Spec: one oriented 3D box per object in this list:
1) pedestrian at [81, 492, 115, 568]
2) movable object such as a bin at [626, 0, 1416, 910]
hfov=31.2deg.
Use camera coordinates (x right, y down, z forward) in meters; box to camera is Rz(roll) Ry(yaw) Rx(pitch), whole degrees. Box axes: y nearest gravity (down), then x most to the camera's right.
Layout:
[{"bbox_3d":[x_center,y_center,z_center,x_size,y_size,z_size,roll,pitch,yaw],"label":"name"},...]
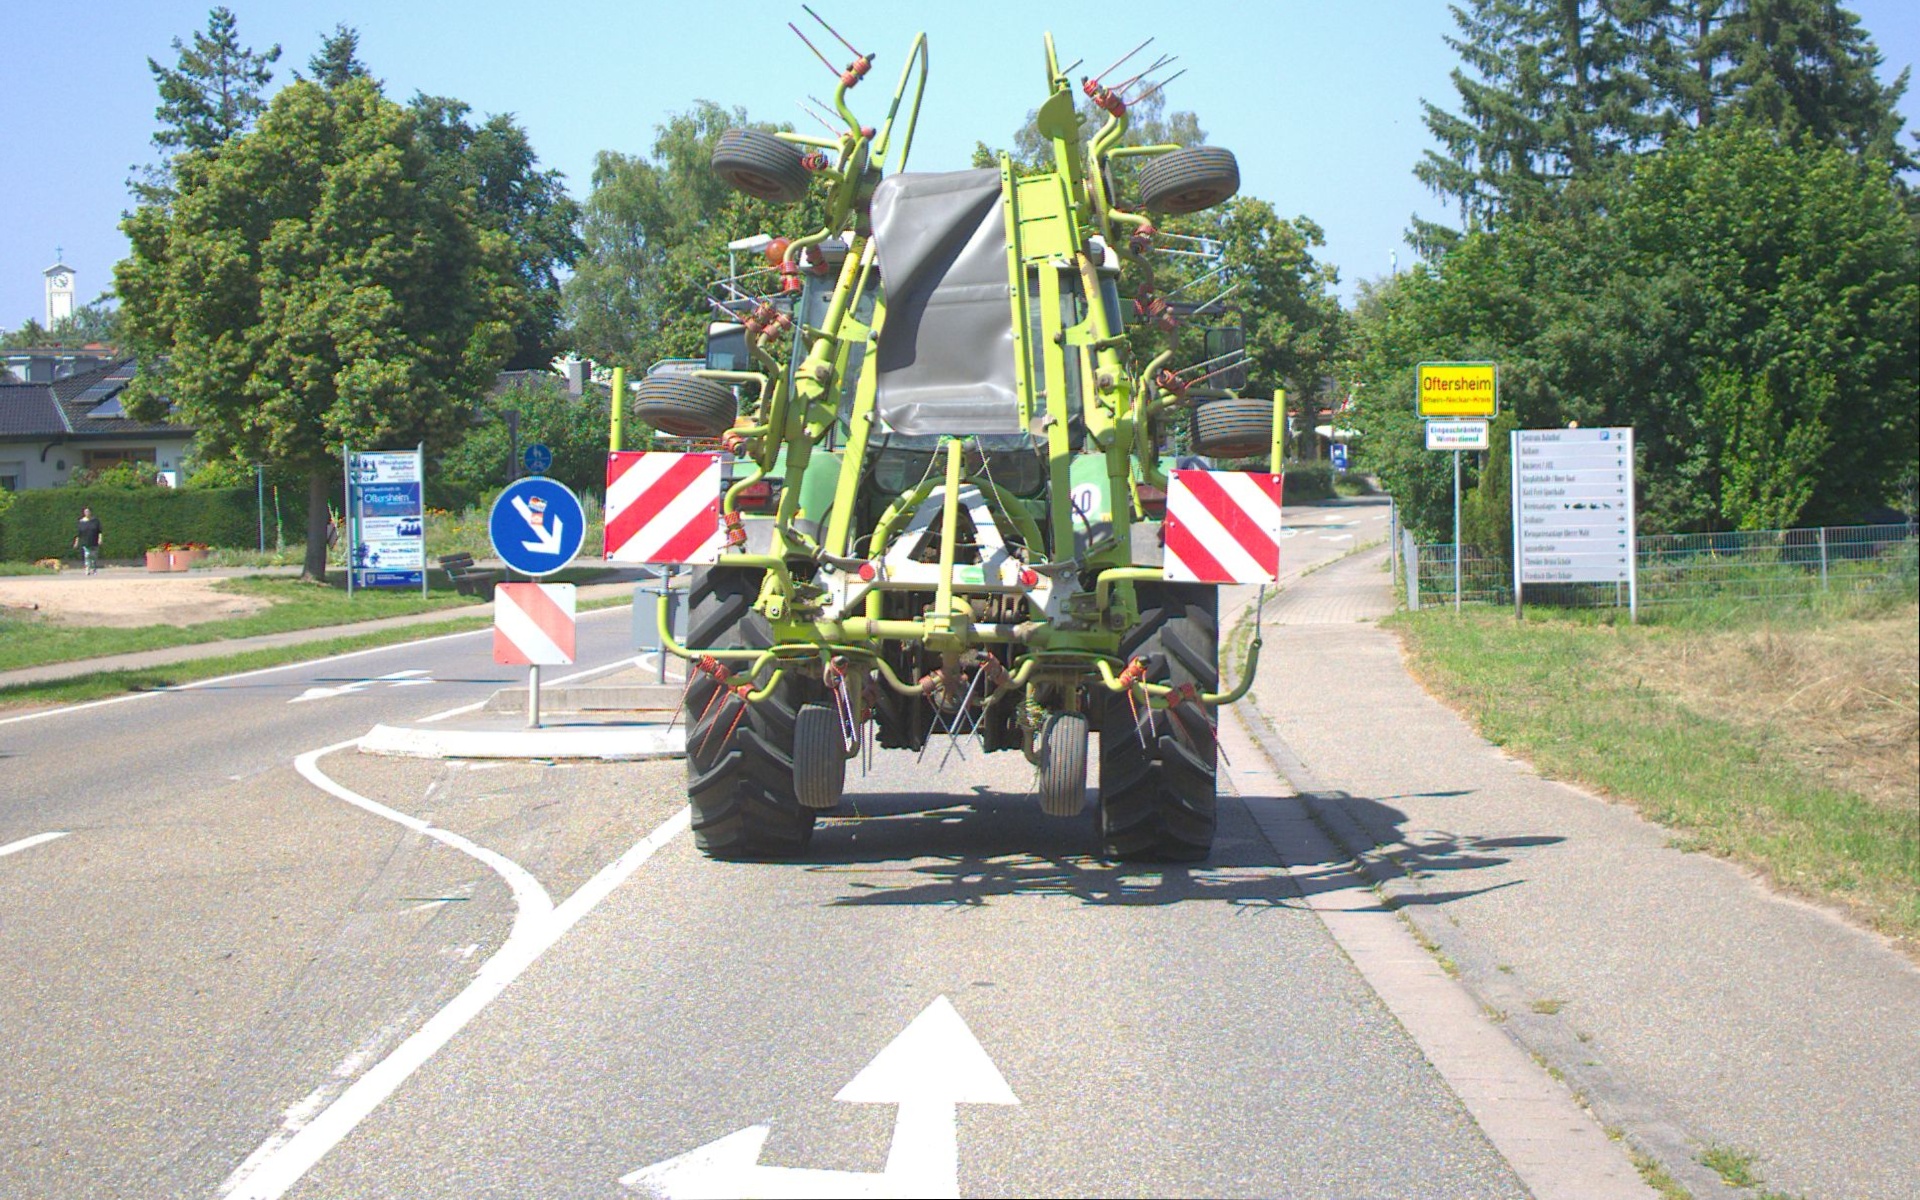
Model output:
[{"bbox_3d":[-19.623,-1.595,78.244,0.674,1.711,0.551,0,0,-23],"label":"pedestrian"},{"bbox_3d":[0.171,-0.754,17.299,2.853,3.529,9.701,0,1,-1],"label":"movable object such as a bin"}]
